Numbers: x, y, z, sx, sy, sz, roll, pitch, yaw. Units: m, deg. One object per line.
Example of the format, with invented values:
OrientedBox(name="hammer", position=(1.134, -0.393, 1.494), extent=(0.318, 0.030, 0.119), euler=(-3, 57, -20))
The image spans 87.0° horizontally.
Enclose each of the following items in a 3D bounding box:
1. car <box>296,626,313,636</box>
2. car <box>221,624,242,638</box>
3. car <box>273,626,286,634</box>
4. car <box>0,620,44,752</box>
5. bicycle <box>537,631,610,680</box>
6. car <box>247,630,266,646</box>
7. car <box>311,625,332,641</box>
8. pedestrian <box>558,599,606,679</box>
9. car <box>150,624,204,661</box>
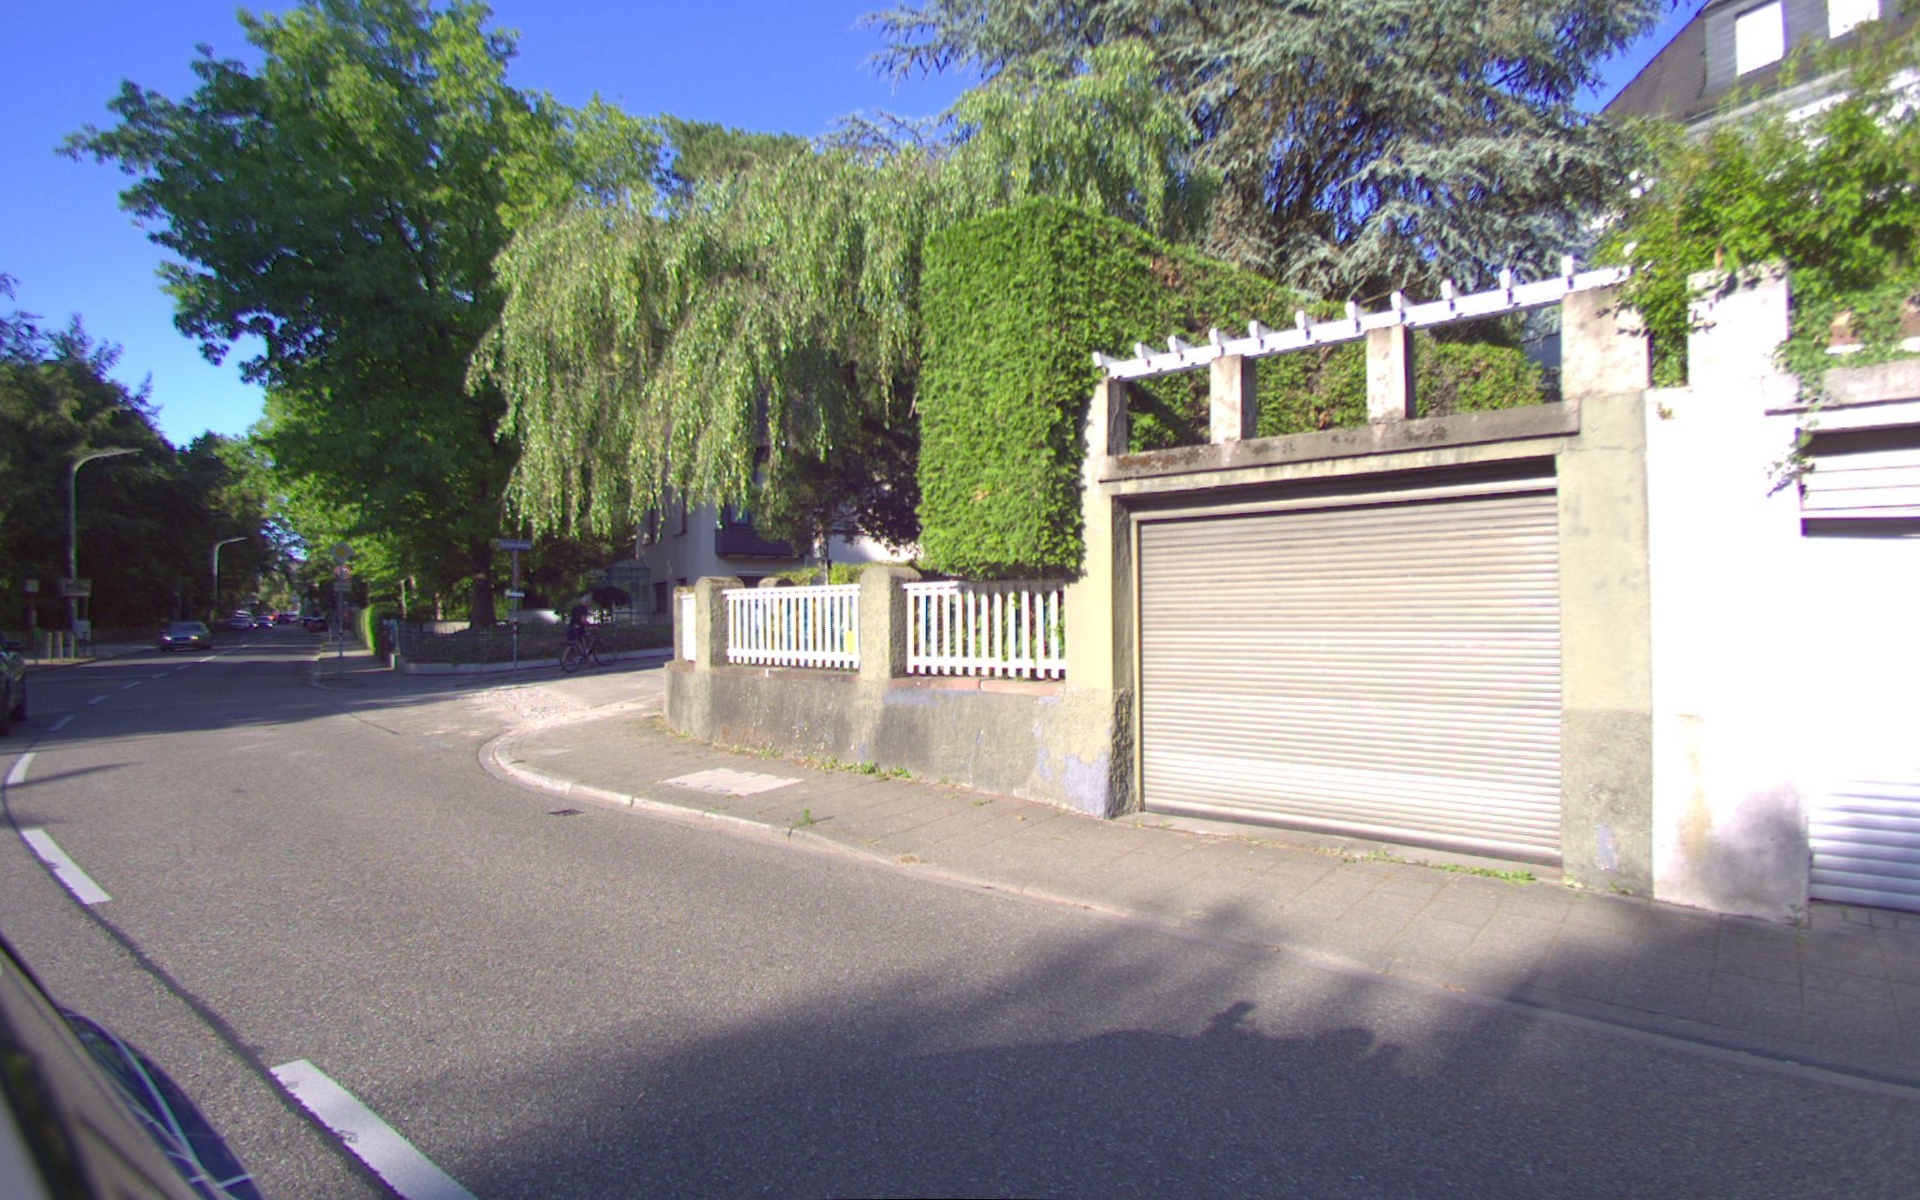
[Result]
OrientedBox(name="car", position=(-97.670, 4.645, 150.676), extent=(1.795, 1.393, 3.944), euler=(4, -3, -37))
OrientedBox(name="car", position=(-82.602, 3.499, 114.668), extent=(1.795, 1.393, 3.944), euler=(4, -3, -37))
OrientedBox(name="car", position=(-129.591, 5.657, 192.823), extent=(1.795, 1.393, 3.944), euler=(4, -3, -37))
OrientedBox(name="car", position=(-13.901, 1.137, 13.549), extent=(1.906, 1.699, 4.442), euler=(0, -2, -36))
OrientedBox(name="bicycle", position=(-9.262, 1.323, 24.327), extent=(0.557, 1.051, 1.805), euler=(-4, -1, 20))
OrientedBox(name="car", position=(-93.051, 4.958, 133.797), extent=(1.967, 2.029, 4.010), euler=(-1, -1, -35))
OrientedBox(name="car", position=(-65.569, 3.357, 103.886), extent=(1.663, 1.444, 3.625), euler=(-4, 1, -34))
OrientedBox(name="pedestrian", position=(-9.097, 0.925, 24.377), extent=(0.550, 1.840, 0.937), euler=(-4, -1, 19))
OrientedBox(name="car", position=(-39.801, 2.125, 51.532), extent=(1.967, 1.652, 4.009), euler=(-3, 1, -36))
